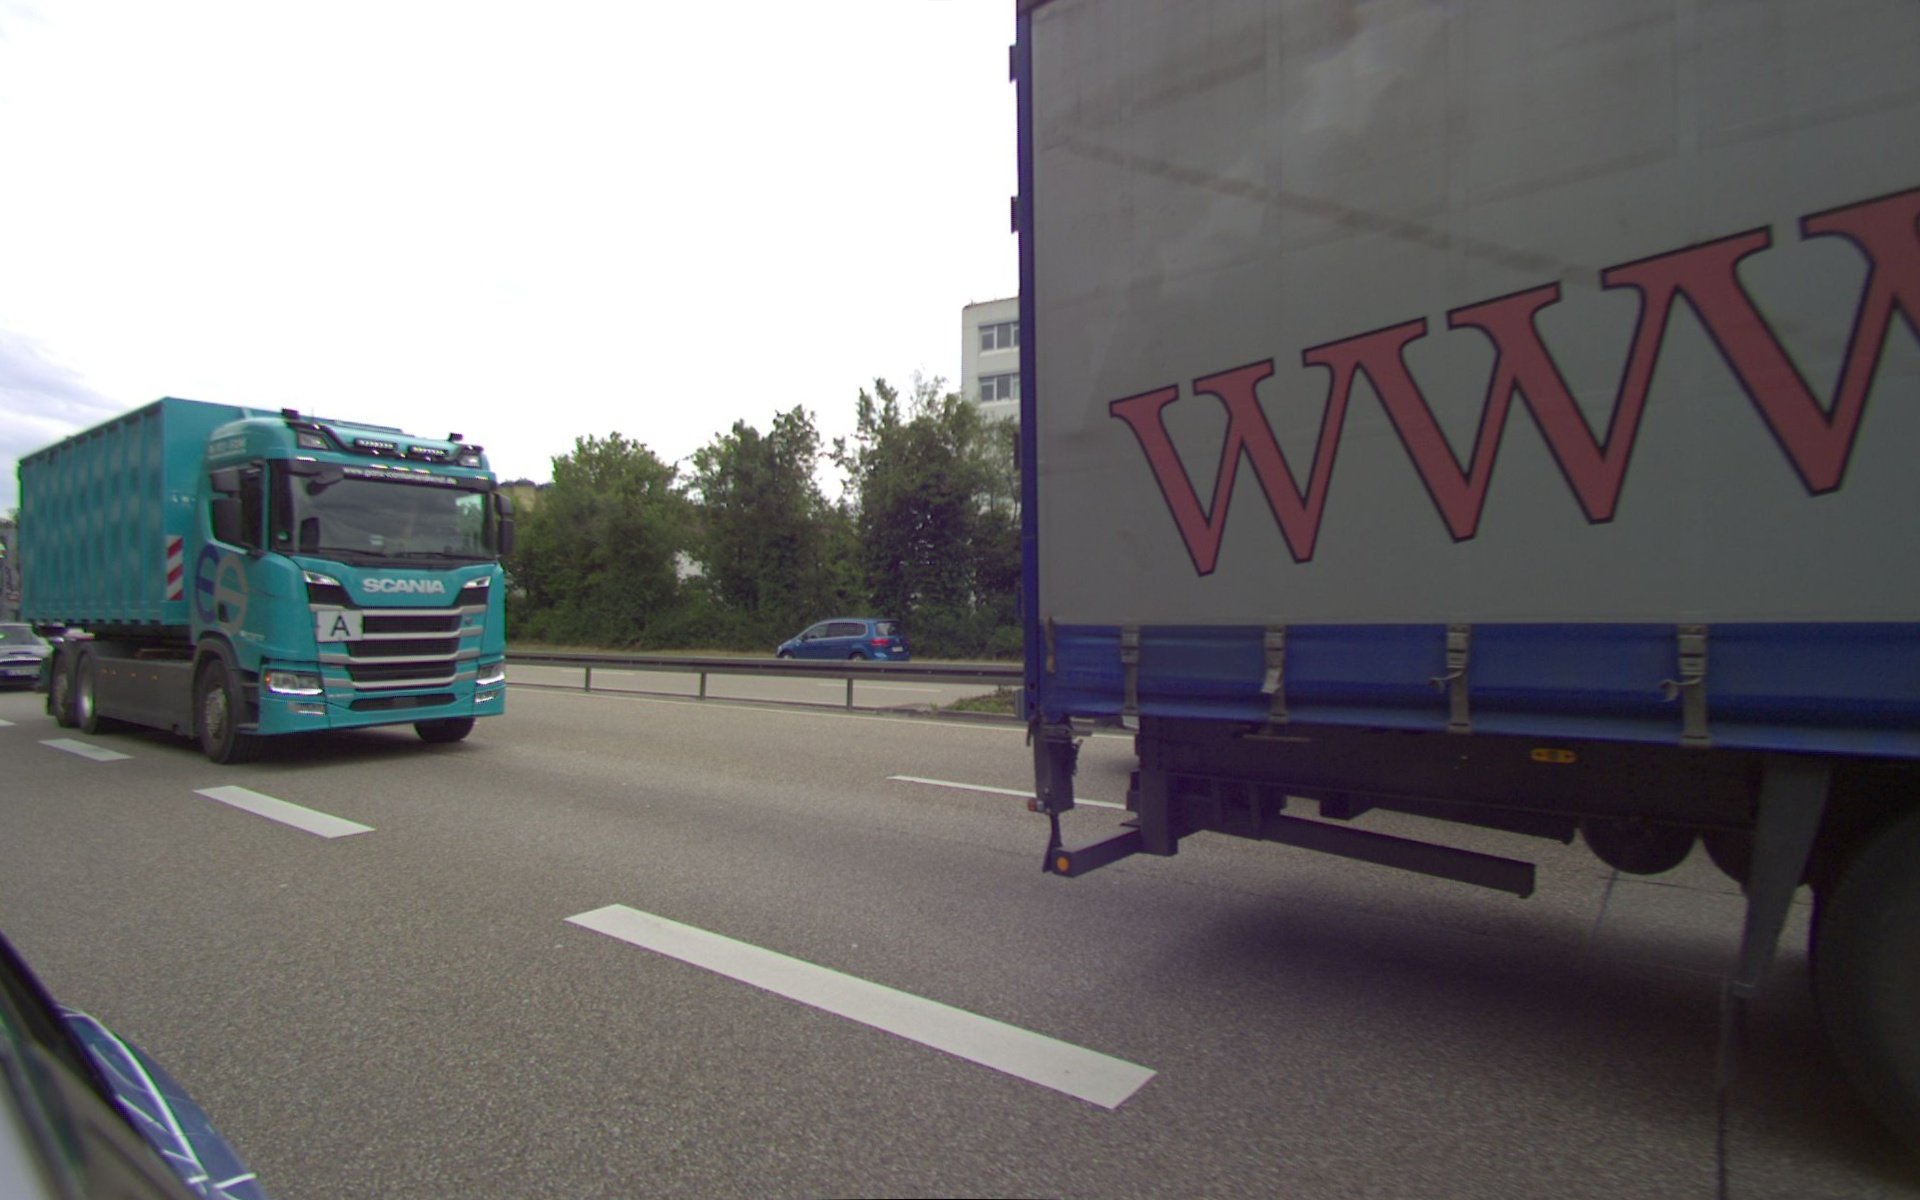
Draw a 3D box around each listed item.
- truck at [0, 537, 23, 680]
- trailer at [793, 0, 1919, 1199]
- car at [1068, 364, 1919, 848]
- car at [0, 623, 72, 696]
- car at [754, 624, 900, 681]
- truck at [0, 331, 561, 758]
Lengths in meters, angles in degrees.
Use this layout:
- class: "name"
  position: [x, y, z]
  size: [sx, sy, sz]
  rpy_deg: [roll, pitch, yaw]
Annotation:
- class: "truck"
  position: [-29.707, 0.272, 28.969]
  size: [6.917, 3.937, 2.661]
  rpy_deg: [-1, -2, 34]
- class: "trailer"
  position: [5.227, -0.677, 1.433]
  size: [13.451, 4.053, 2.600]
  rpy_deg: [-1, 0, 40]
- class: "car"
  position: [4.280, 0.044, 7.548]
  size: [6.789, 2.597, 2.201]
  rpy_deg: [-1, 0, 38]
- class: "car"
  position: [-20.403, 1.216, 21.443]
  size: [3.659, 1.432, 1.731]
  rpy_deg: [-1, -1, 38]
- class: "car"
  position: [-4.033, 1.531, 30.346]
  size: [4.414, 1.609, 1.613]
  rpy_deg: [-1, -2, 34]
- class: "truck"
  position: [-9.880, -0.370, 13.632]
  size: [11.311, 3.825, 2.902]
  rpy_deg: [-1, -2, 37]
